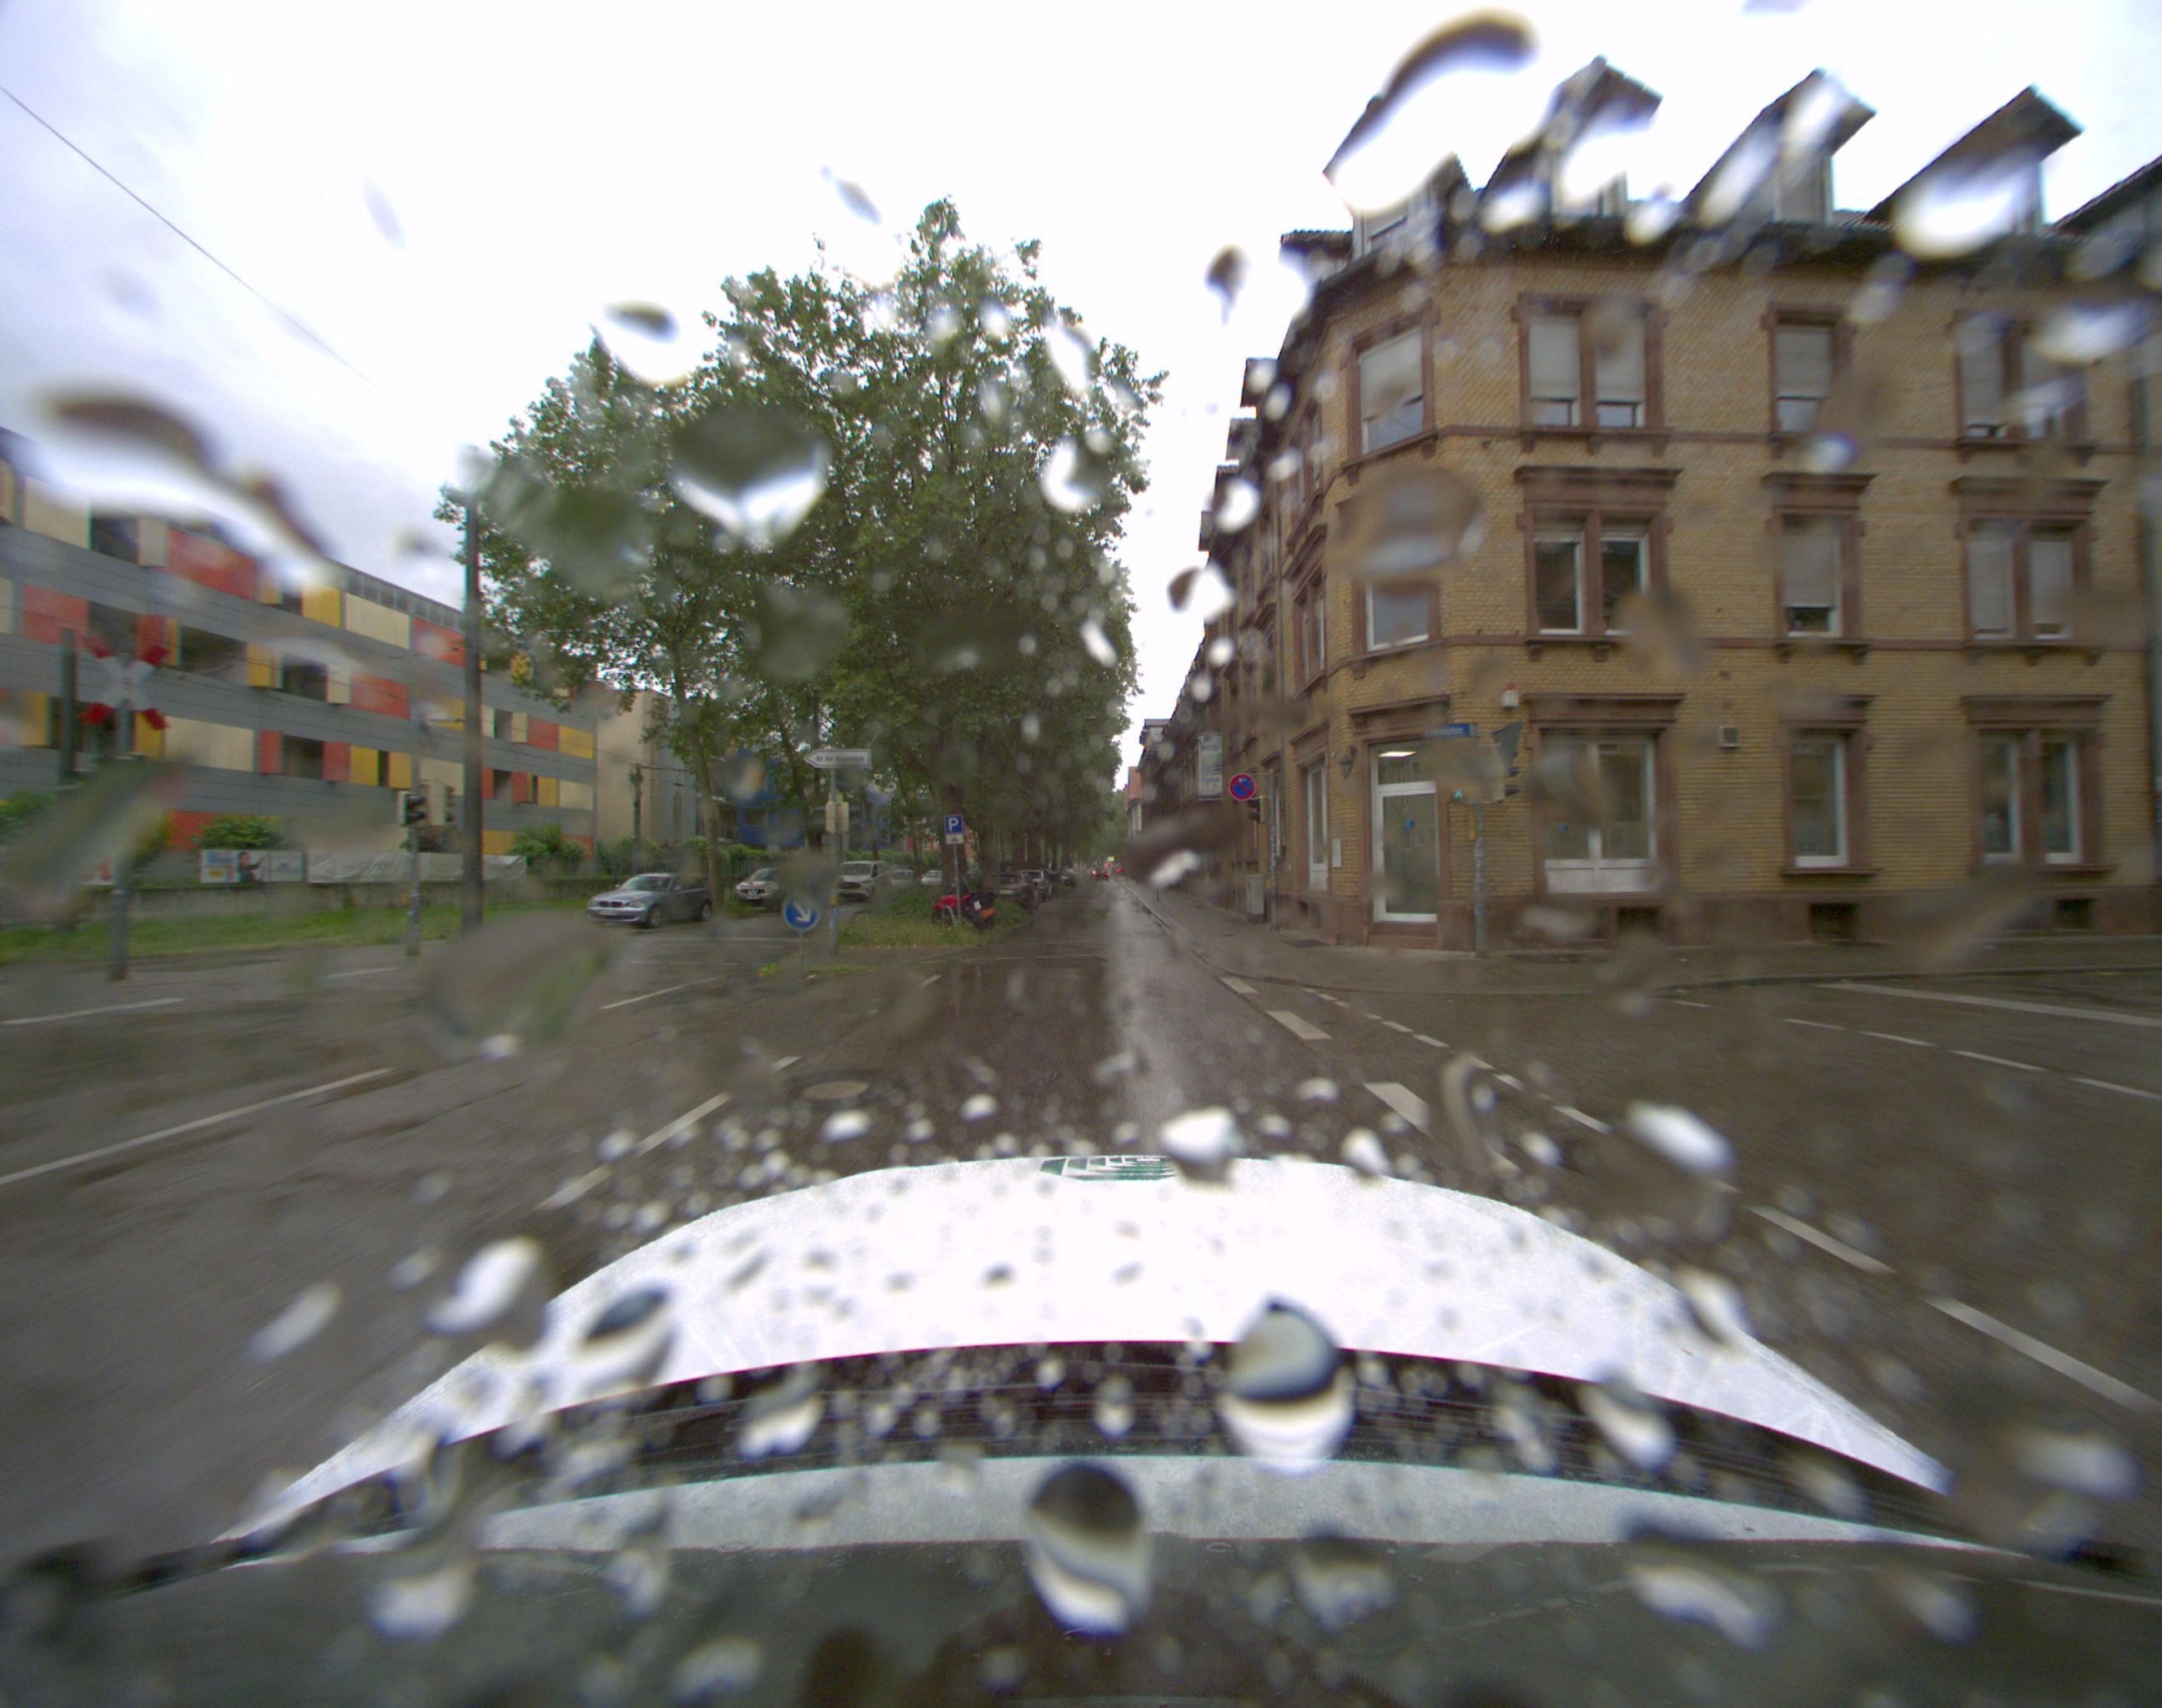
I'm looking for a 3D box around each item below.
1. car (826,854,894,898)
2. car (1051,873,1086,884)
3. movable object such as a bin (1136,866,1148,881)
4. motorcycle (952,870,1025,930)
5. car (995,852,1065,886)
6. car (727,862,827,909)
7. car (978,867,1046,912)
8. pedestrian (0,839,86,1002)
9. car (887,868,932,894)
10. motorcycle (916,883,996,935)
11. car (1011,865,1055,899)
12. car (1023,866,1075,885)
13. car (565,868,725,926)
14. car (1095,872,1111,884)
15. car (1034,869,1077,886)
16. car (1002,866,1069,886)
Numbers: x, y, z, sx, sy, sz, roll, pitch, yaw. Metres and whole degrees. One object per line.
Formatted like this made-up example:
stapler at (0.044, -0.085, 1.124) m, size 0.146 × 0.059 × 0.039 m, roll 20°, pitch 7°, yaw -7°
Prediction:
car at (-11.006, 1.088, 41.074) m, size 2.048 × 1.997 × 5.429 m, roll 2°, pitch -1°, yaw -2°
car at (-1.751, 3.412, 113.403) m, size 4.502 × 1.482 × 1.786 m, roll -3°, pitch -2°, yaw 31°
movable object such as a bin at (5.742, 1.853, 77.059) m, size 1.017 × 1.302 × 1.367 m, roll -4°, pitch -1°, yaw 1°
motorcycle at (-2.466, 1.189, 21.558) m, size 2.083 × 1.500 × 0.776 m, roll -1°, pitch -2°, yaw 45°
car at (-3.571, 1.068, 56.868) m, size 4.599 × 2.283 × 2.024 m, roll -2°, pitch -2°, yaw 35°
car at (-11.129, 1.120, 30.222) m, size 1.897 × 1.600 × 4.468 m, roll 0°, pitch -1°, yaw 2°
car at (-2.406, 1.219, 29.542) m, size 1.889 × 1.485 × 4.622 m, roll 1°, pitch -1°, yaw 2°
pedestrian at (-12.459, 0.746, 9.177) m, size 0.932 × 1.800 × 1.206 m, roll 0°, pitch -2°, yaw 1°
car at (-10.565, 1.618, 50.409) m, size 1.898 × 1.534 × 4.215 m, roll 0°, pitch -1°, yaw 0°
motorcycle at (-3.140, 1.345, 20.325) m, size 0.874 × 1.209 × 2.116 m, roll 2°, pitch -2°, yaw -44°
car at (-2.273, 1.322, 39.284) m, size 1.723 × 1.515 × 4.208 m, roll 1°, pitch -1°, yaw 2°
car at (-2.708, 1.762, 68.061) m, size 4.013 × 1.537 × 1.847 m, roll 0°, pitch -1°, yaw 31°
car at (-11.947, 1.126, 22.714) m, size 1.896 × 1.463 × 4.391 m, roll 0°, pitch -1°, yaw 3°
car at (2.918, 3.155, 107.736) m, size 1.986 × 1.640 × 4.000 m, roll 1°, pitch -2°, yaw 1°
car at (-3.306, 3.002, 104.559) m, size 5.065 × 1.978 × 2.116 m, roll -3°, pitch -2°, yaw 32°
car at (-3.345, 1.618, 59.668) m, size 4.601 × 1.326 × 1.858 m, roll -2°, pitch -1°, yaw 28°
